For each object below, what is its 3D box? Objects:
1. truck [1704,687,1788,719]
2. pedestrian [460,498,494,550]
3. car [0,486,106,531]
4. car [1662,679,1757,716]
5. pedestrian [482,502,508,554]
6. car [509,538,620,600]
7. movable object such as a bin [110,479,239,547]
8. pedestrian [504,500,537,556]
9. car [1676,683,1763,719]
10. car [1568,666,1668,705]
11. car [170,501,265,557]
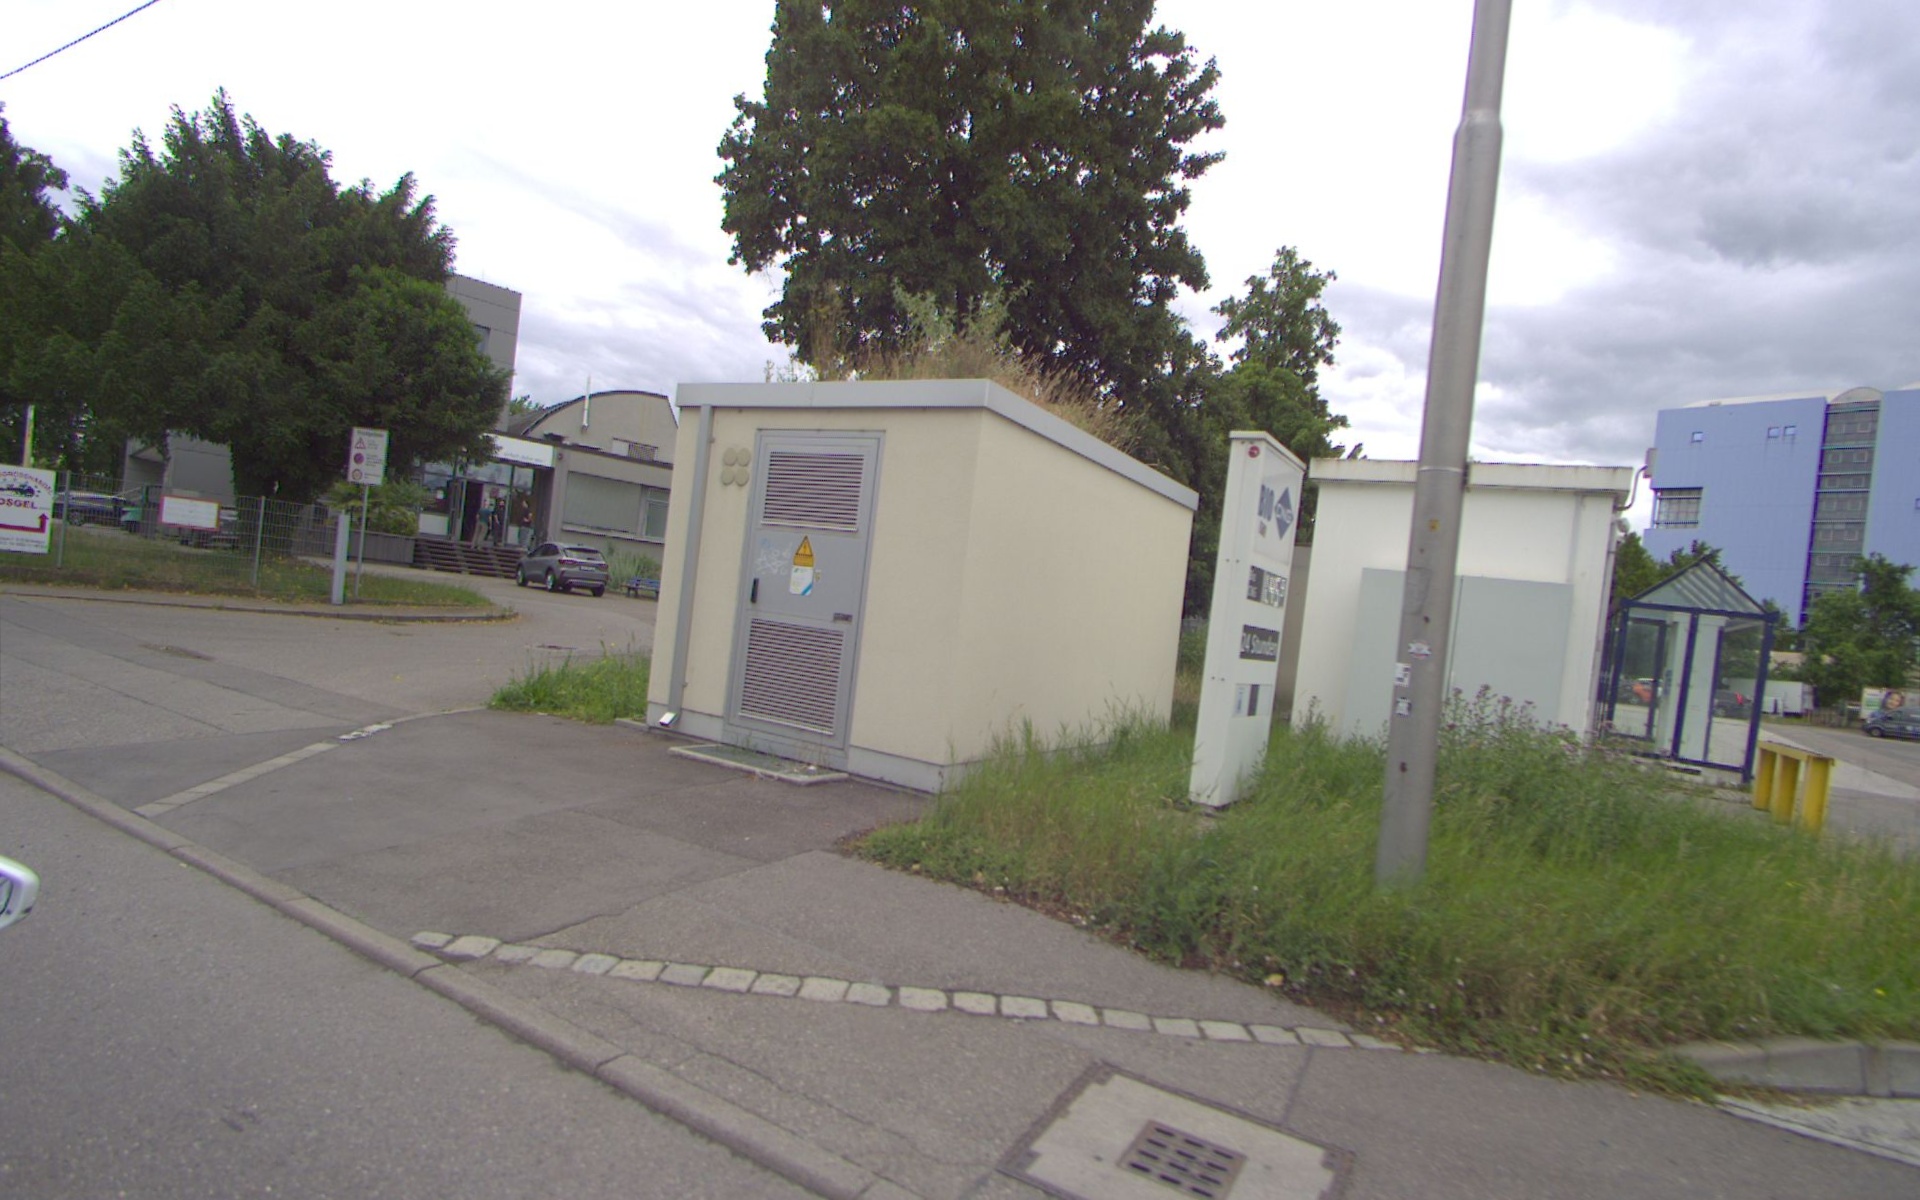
[{"bbox_3d":[67.955,8.884,87.055,1.982,1.953,5.238,6,0,-36],"label":"truck"},{"bbox_3d":[-17.894,-2.808,37.317,0.907,1.774,0.793,6,1,-19],"label":"pedestrian"},{"bbox_3d":[-40.639,-4.059,43.972,4.613,1.492,1.996,6,0,-10],"label":"car"},{"bbox_3d":[46.745,6.067,62.817,1.969,1.672,4.297,6,0,-37],"label":"car"},{"bbox_3d":[-17.986,-2.789,38.895,0.736,1.910,0.690,5,1,-24],"label":"pedestrian"},{"bbox_3d":[-13.572,-1.086,34.397,1.986,1.633,4.386,5,2,-43],"label":"car"},{"bbox_3d":[-33.321,-3.664,42.724,1.926,2.334,3.977,7,1,43],"label":"movable object such as a bin"},{"bbox_3d":[-16.983,-2.783,38.877,0.791,2.039,0.910,5,1,-41],"label":"pedestrian"},{"bbox_3d":[48.876,6.491,64.804,1.809,1.672,3.989,6,1,-37],"label":"car"},{"bbox_3d":[37.544,4.870,57.471,1.877,1.613,4.323,6,0,-37],"label":"car"},{"bbox_3d":[-26.118,-2.510,35.326,4.383,1.588,1.986,8,3,44],"label":"car"}]
